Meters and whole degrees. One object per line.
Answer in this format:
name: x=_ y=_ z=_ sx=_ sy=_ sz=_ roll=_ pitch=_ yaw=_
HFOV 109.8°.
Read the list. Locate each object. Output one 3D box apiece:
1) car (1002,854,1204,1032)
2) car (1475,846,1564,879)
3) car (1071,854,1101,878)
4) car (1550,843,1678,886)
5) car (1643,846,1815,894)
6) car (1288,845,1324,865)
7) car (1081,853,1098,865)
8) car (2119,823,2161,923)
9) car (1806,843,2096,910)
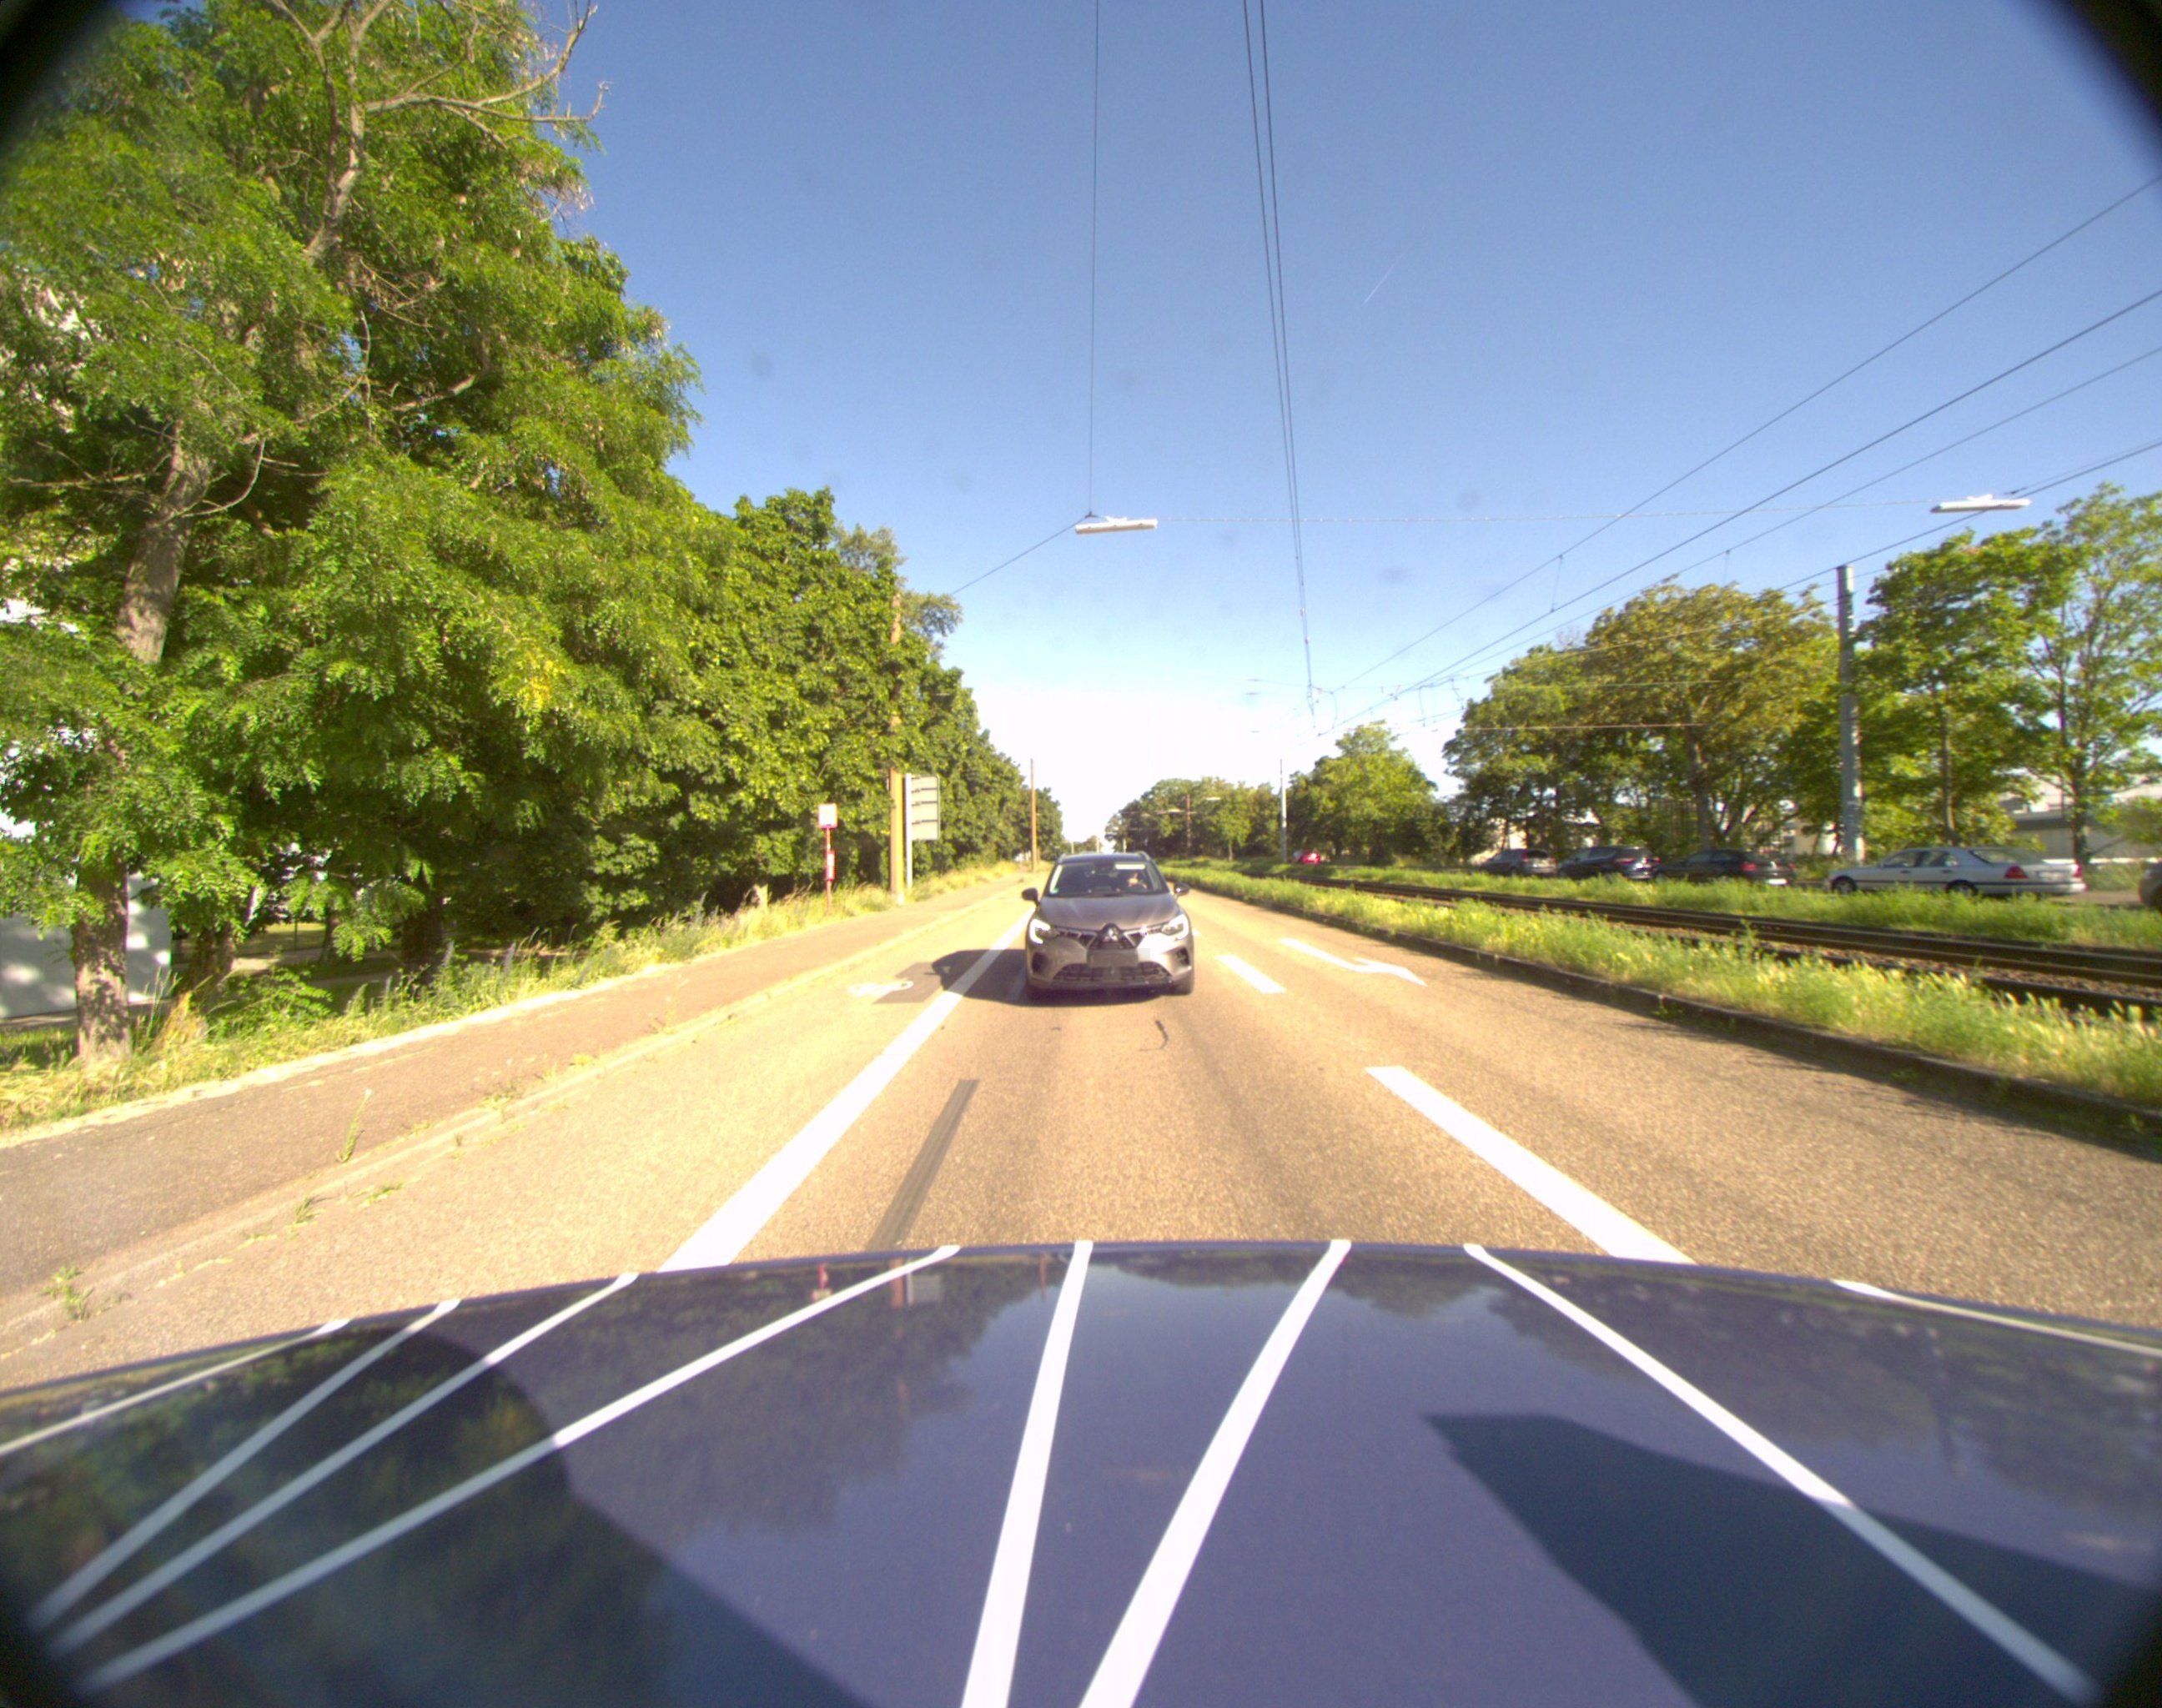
car: x=0.214 y=0.838 z=9.313 sx=1.822 sy=1.589 sz=4.413 roll=-2 pitch=0 yaw=0
car: x=21.475 y=0.378 z=37.445 sx=1.740 sy=1.485 sz=4.327 roll=-3 pitch=0 yaw=-1
car: x=0.354 y=0.777 z=50.190 sx=1.832 sy=1.477 sz=4.000 roll=-2 pitch=0 yaw=1
car: x=21.368 y=0.397 z=30.737 sx=1.999 sy=1.565 sz=4.434 roll=-2 pitch=0 yaw=-1
car: x=21.402 y=0.499 z=25.377 sx=1.998 sy=1.429 sz=4.415 roll=-2 pitch=0 yaw=1
car: x=20.988 y=0.078 z=71.123 sx=2.009 sy=1.692 sz=4.466 roll=-1 pitch=0 yaw=-1
car: x=1.156 y=0.733 z=107.757 sx=1.999 sy=1.577 sz=3.998 roll=-2 pitch=0 yaw=-5
car: x=21.283 y=0.327 z=12.410 sx=2.202 sy=1.880 sz=4.792 roll=-2 pitch=0 yaw=3
car: x=21.395 y=0.510 z=19.075 sx=1.933 sy=1.429 sz=4.695 roll=-2 pitch=0 yaw=1
